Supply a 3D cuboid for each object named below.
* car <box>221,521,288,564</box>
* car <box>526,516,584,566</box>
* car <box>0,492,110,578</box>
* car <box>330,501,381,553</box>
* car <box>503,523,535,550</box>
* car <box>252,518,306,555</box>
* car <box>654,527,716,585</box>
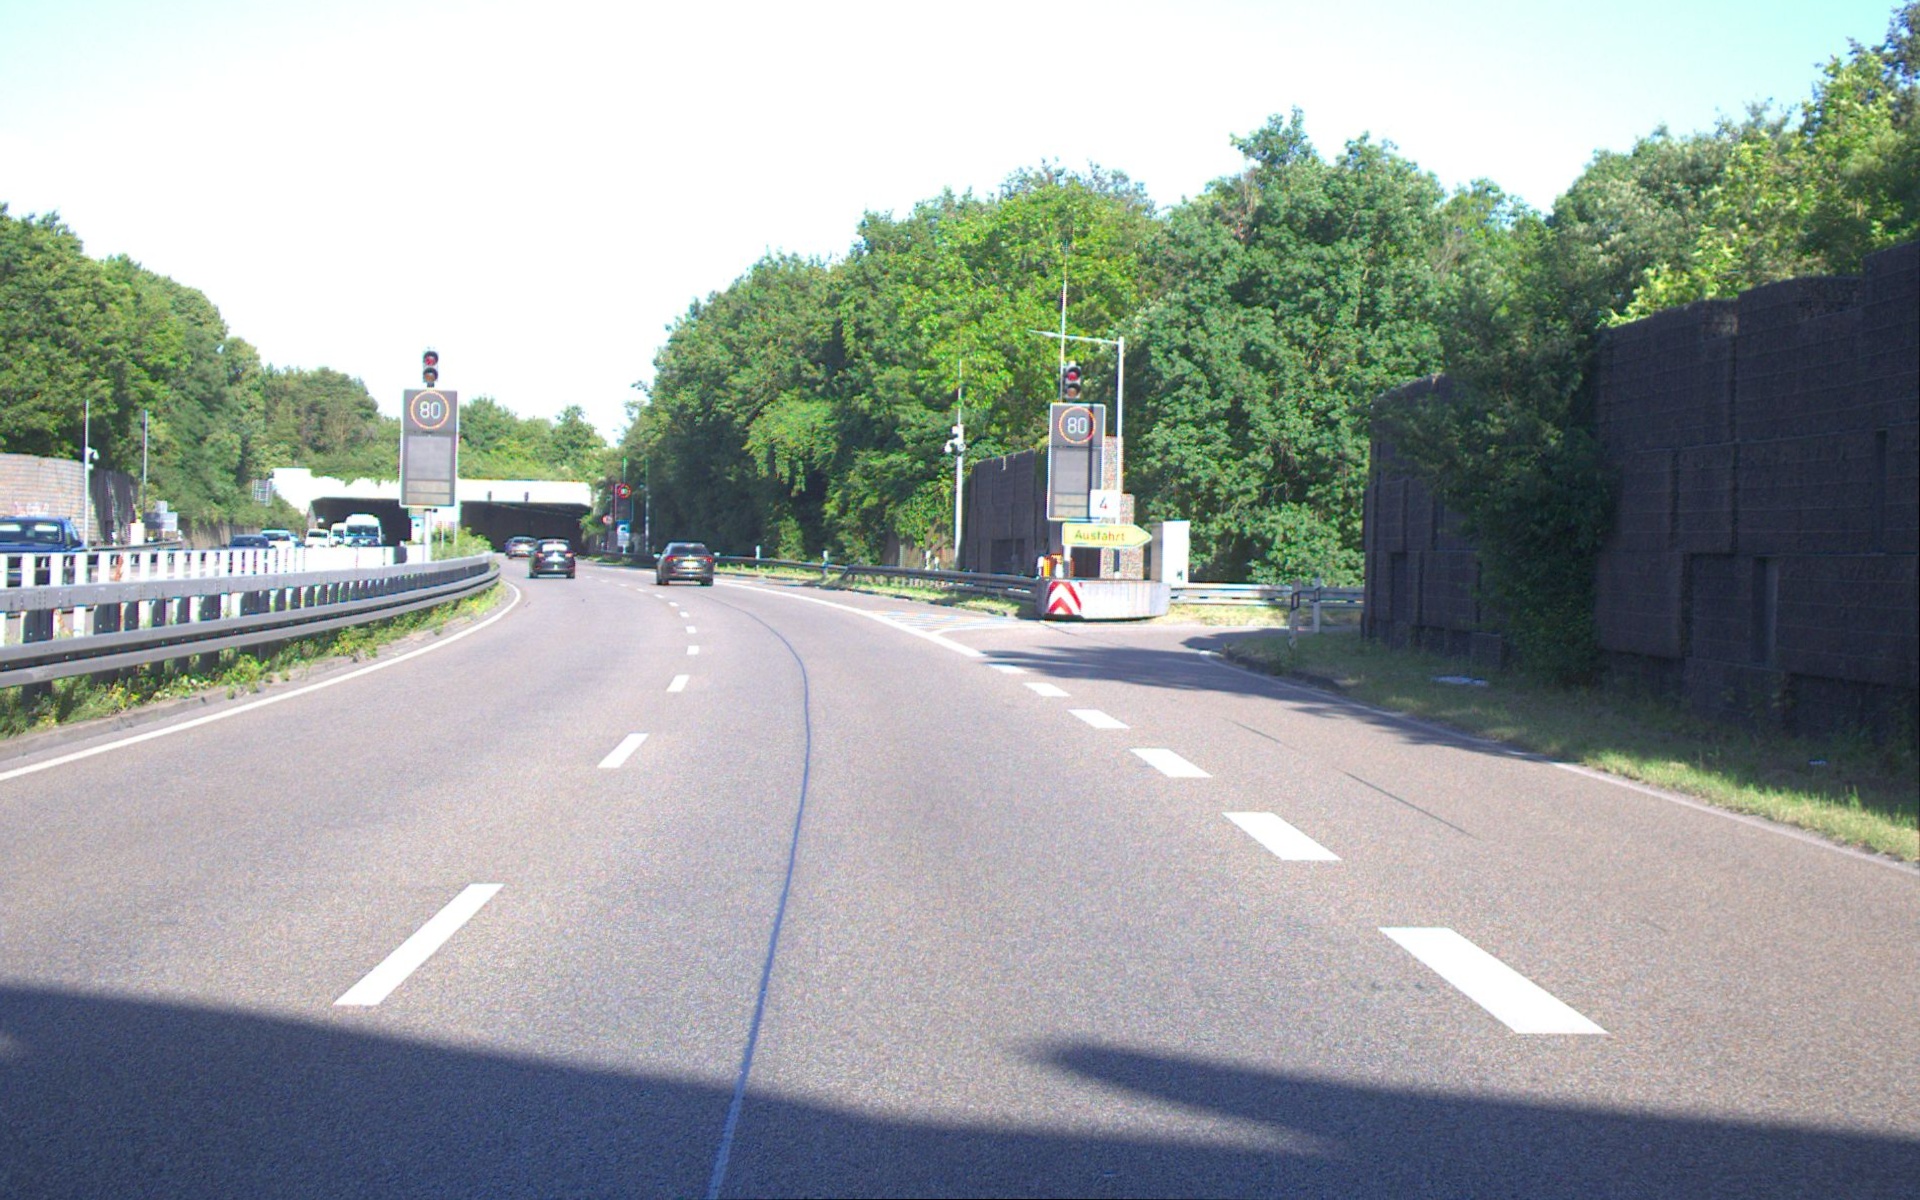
[{"bbox_3d":[-26.872,-2.217,131.030,1.993,1.475,4.536,3,1,-6],"label":"car"},{"bbox_3d":[-16.405,-2.403,139.335,1.993,1.919,4.001,2,1,-3],"label":"car"},{"bbox_3d":[-18.471,-1.328,68.774,1.897,1.568,4.809,3,1,-3],"label":"car"},{"bbox_3d":[-32.949,-4.007,187.586,2.120,2.674,6.590,3,1,-6],"label":"car"},{"bbox_3d":[-32.286,-4.661,251.614,1.993,1.919,4.001,2,1,-11],"label":"car"},{"bbox_3d":[-32.033,-2.995,161.899,1.993,1.590,4.622,3,1,-6],"label":"car"},{"bbox_3d":[-9.532,-1.541,119.404,1.993,1.919,4.001,2,1,-3],"label":"car"}]
